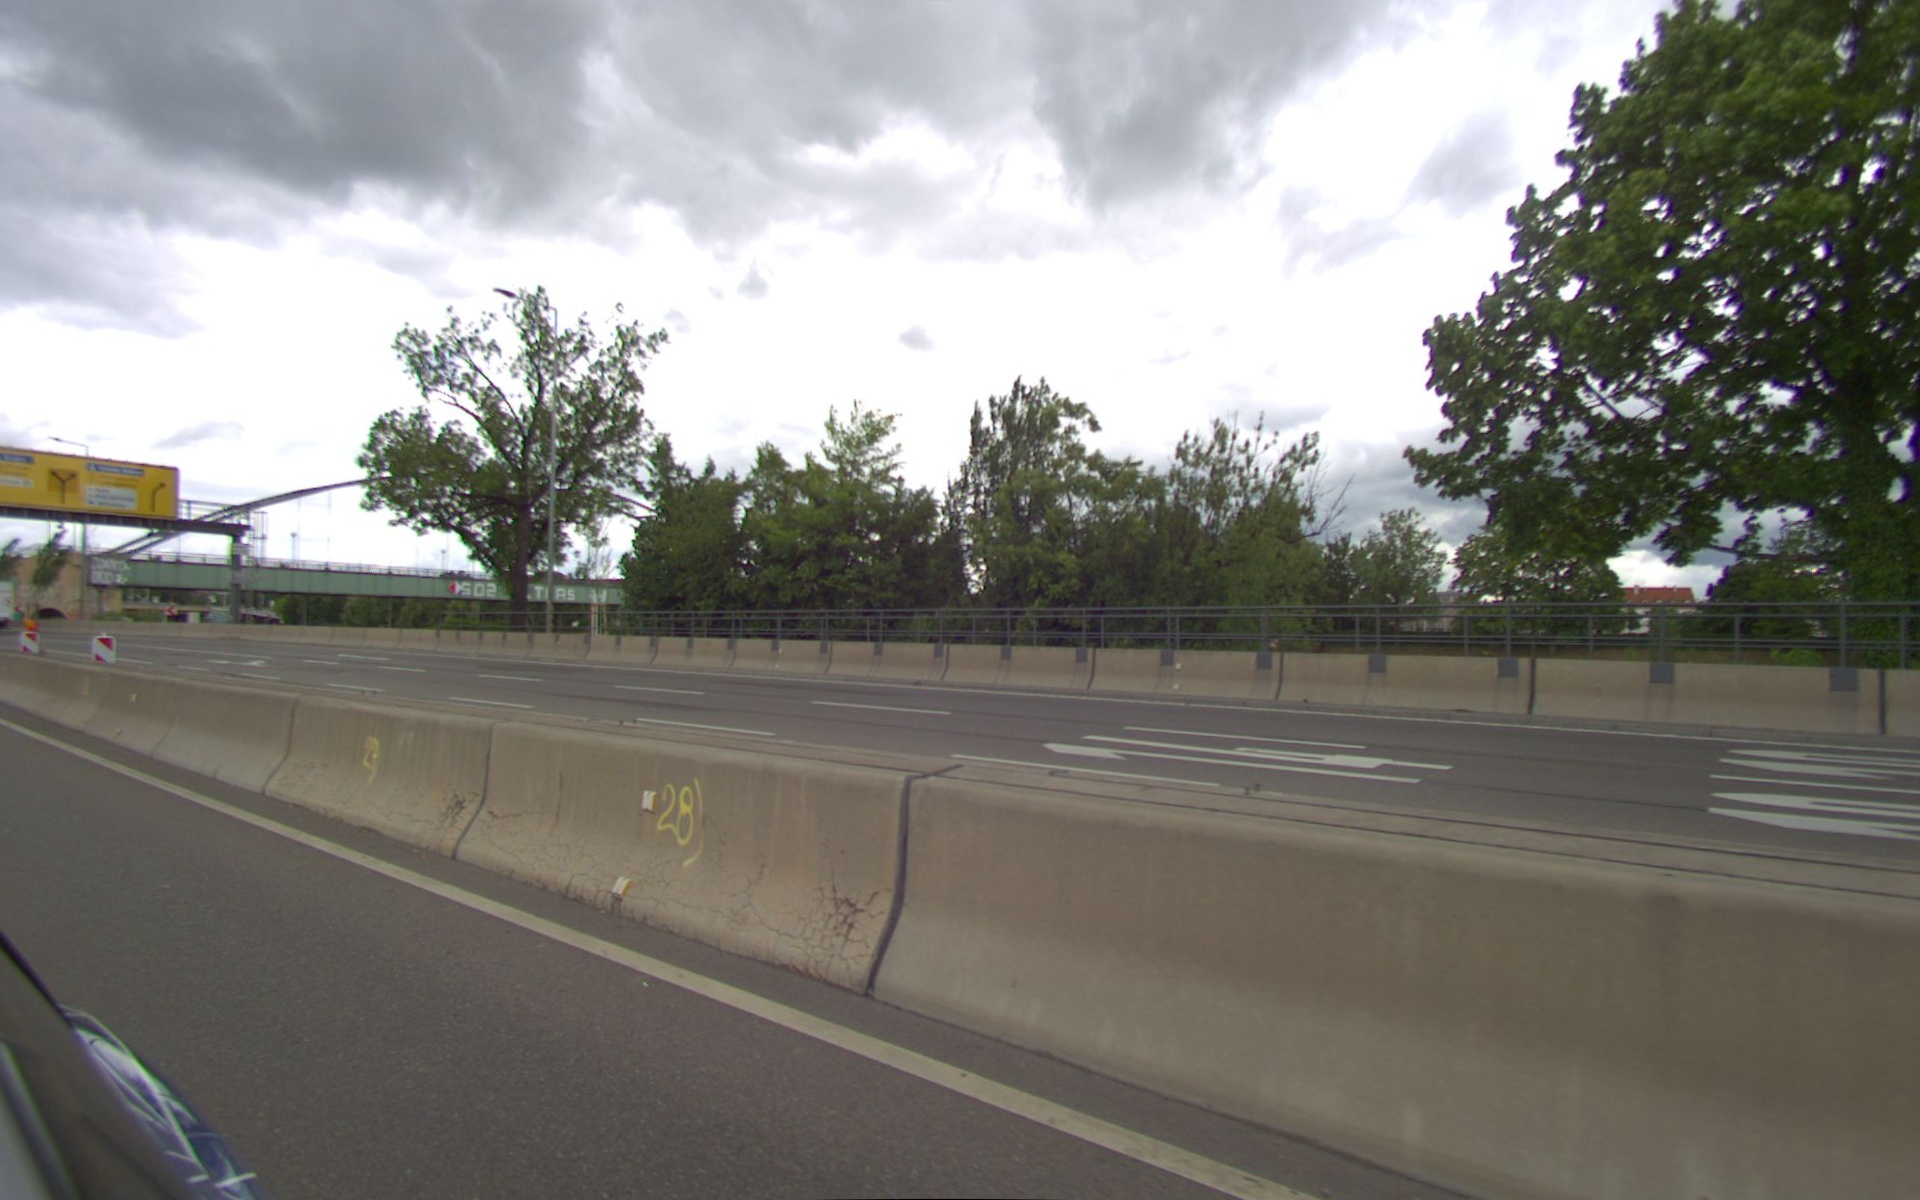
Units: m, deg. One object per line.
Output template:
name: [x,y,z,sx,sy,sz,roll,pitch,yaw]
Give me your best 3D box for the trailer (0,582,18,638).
trailer: [-57.193,0.572,58.258,5.675,3.161,2.262,-1,0,23]
